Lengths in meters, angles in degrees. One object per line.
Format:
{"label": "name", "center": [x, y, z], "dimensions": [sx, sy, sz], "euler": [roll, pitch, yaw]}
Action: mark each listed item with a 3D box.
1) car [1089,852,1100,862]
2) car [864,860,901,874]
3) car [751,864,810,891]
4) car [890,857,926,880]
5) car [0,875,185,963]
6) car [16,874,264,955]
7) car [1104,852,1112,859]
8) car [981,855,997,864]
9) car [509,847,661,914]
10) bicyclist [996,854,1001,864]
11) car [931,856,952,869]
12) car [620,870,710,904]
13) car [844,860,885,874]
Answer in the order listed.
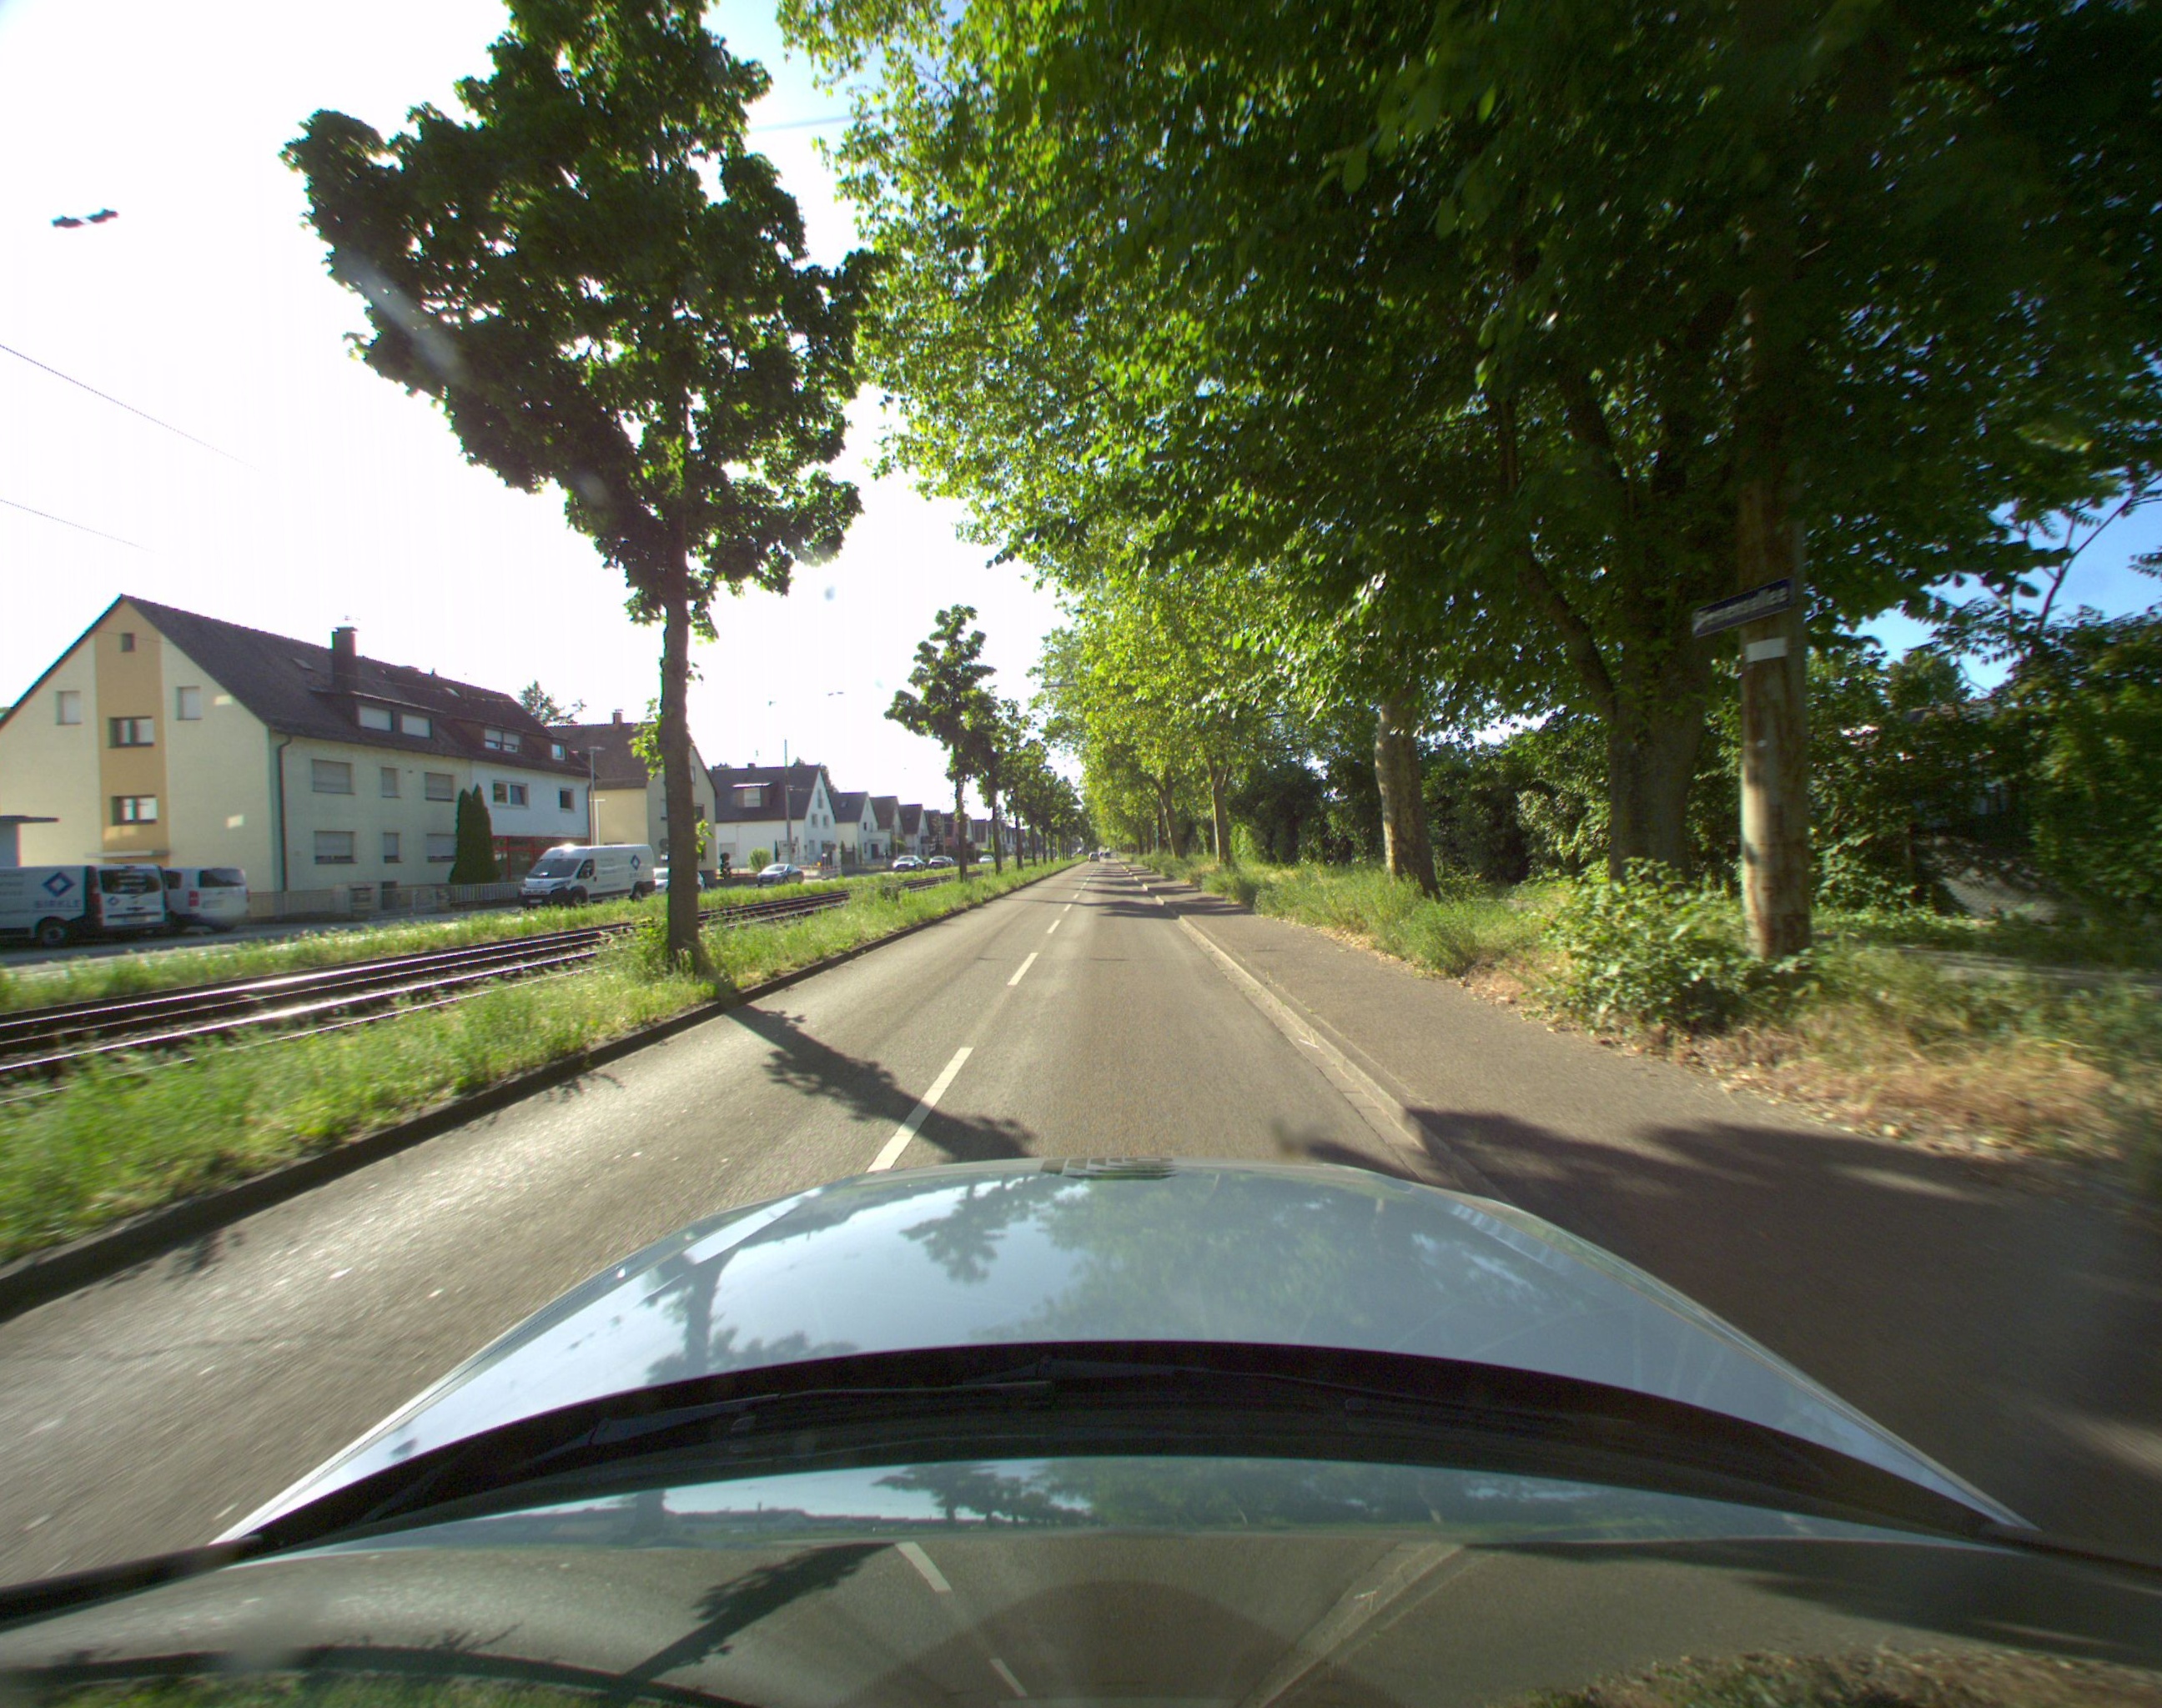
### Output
{"label": "car", "center": [2.118, 0.495, 127.005], "dimensions": [1.732, 1.401, 3.278], "euler": [-1, 0, 2]}
{"label": "car", "center": [-24.066, 1.572, 98.912], "dimensions": [3.977, 1.669, 1.998], "euler": [-1, -1, -2]}
{"label": "car", "center": [-19.528, 1.481, 53.074], "dimensions": [1.985, 1.581, 4.501], "euler": [-1, 0, 2]}
{"label": "car", "center": [-14.989, 1.244, 70.786], "dimensions": [1.908, 1.883, 4.527], "euler": [-1, 0, 3]}
{"label": "car", "center": [-25.776, 1.596, 20.103], "dimensions": [4.616, 1.945, 1.994], "euler": [-2, 0, -9]}
{"label": "car", "center": [-25.972, 1.624, 22.643], "dimensions": [4.136, 1.952, 1.994], "euler": [-2, 0, -9]}
{"label": "car", "center": [6.455, 0.365, 192.771], "dimensions": [1.754, 1.513, 3.279], "euler": [-1, 0, 3]}
{"label": "car", "center": [-16.598, 1.031, 146.812], "dimensions": [1.984, 1.599, 4.738], "euler": [-1, 0, 5]}
{"label": "car", "center": [-20.135, 0.992, 33.563], "dimensions": [1.986, 2.459, 6.676], "euler": [-1, 0, 1]}
{"label": "bicyclist", "center": [-14.476, 0.876, 143.306], "dimensions": [0.686, 1.652, 0.882], "euler": [-1, 0, 1]}
{"label": "car", "center": [-17.648, 1.085, 103.211], "dimensions": [1.637, 1.568, 4.390], "euler": [-1, 0, 3]}
{"label": "car", "center": [-19.933, 1.542, 39.241], "dimensions": [1.818, 1.412, 4.659], "euler": [-1, 0, 1]}
{"label": "car", "center": [-25.004, 1.507, 94.207], "dimensions": [4.202, 1.463, 1.936], "euler": [-1, -1, -2]}
